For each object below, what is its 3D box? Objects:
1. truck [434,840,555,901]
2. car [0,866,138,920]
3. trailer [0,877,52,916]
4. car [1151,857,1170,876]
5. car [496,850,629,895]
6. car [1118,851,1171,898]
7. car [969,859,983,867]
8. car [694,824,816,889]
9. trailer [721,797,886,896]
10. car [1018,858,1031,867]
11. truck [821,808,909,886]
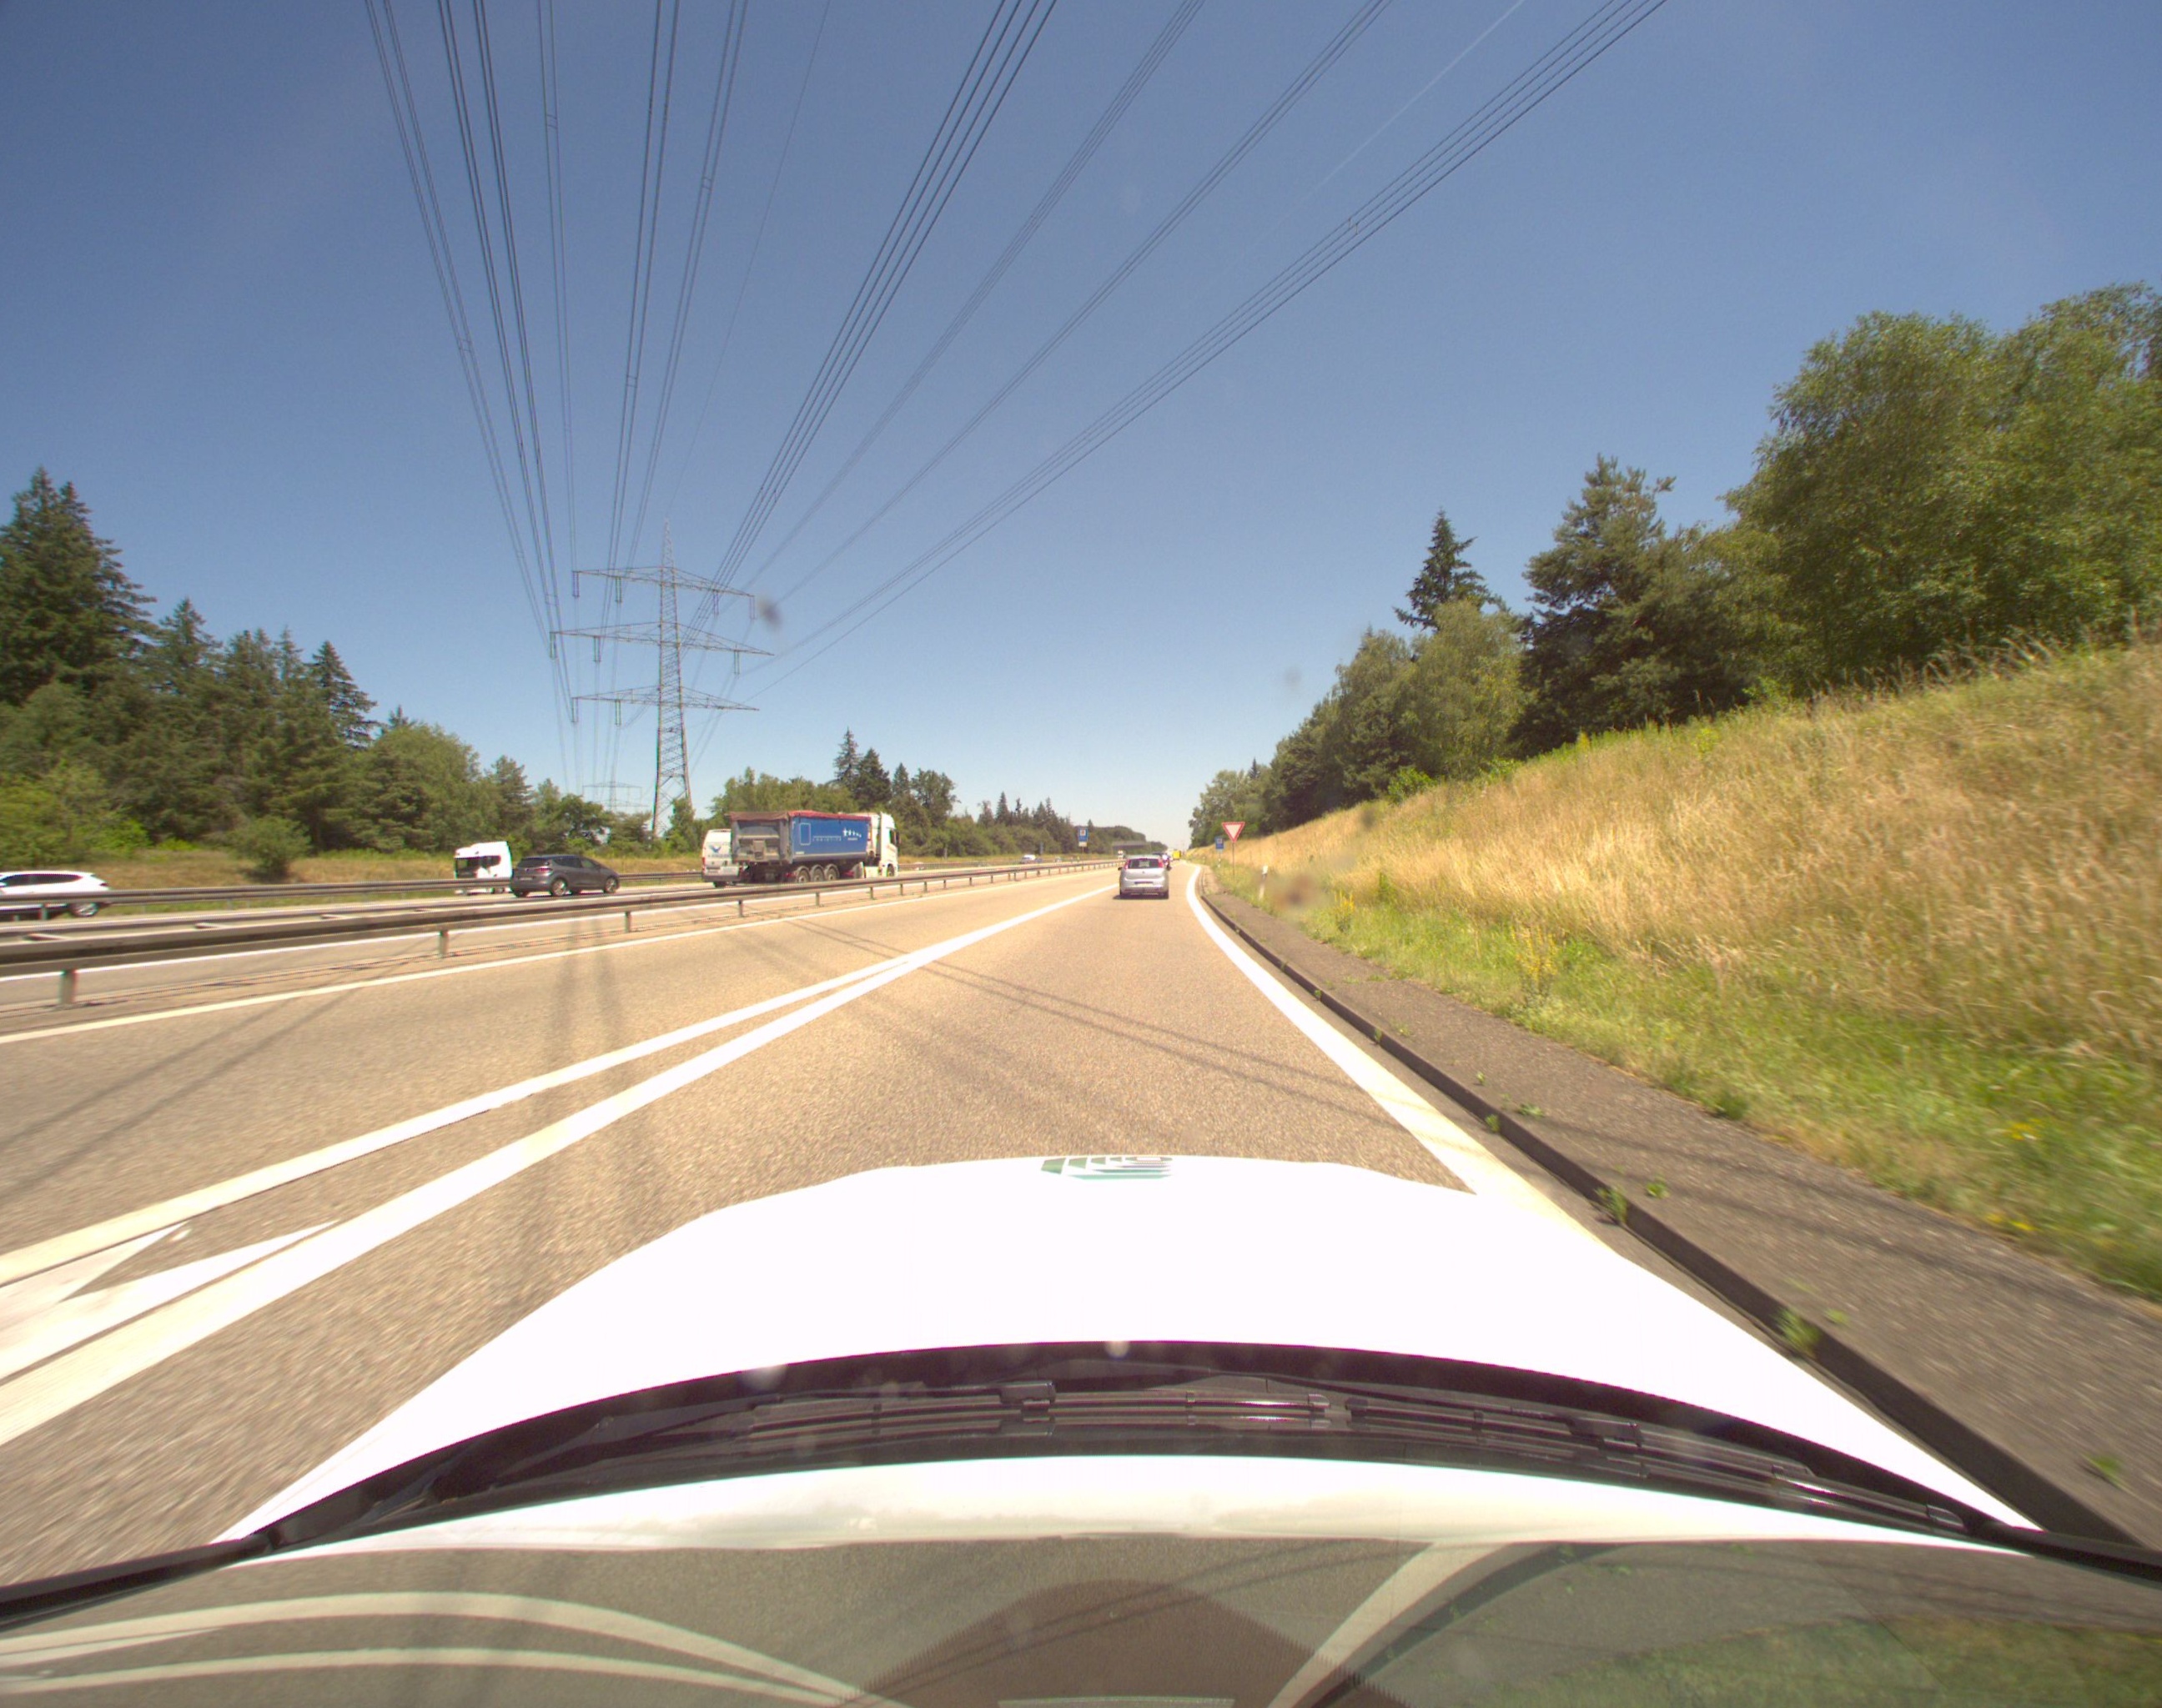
[{"bbox_3d":[-44.344,1.271,61.971,2.842,4.345,7.551,-1,-2,10],"label":"truck"},{"bbox_3d":[-34.765,1.271,26.664,1.761,1.684,4.836,-1,-1,8],"label":"car"},{"bbox_3d":[-52.392,2.075,38.252,1.980,1.819,4.613,-1,0,12],"label":"trailer"},{"bbox_3d":[7.381,1.155,75.354,1.698,1.676,3.402,-1,-2,5],"label":"car"},{"bbox_3d":[-20.707,0.748,32.813,1.761,1.684,4.836,-1,-1,8],"label":"car"},{"bbox_3d":[2.252,0.672,28.312,1.697,1.481,3.404,-2,1,6],"label":"car"},{"bbox_3d":[-24.425,2.028,189.255,1.981,1.783,4.010,-1,-1,9],"label":"car"},{"bbox_3d":[-15.766,0.193,39.954,2.225,2.833,7.070,-1,-1,9],"label":"car"},{"bbox_3d":[-12.016,-0.335,36.677,2.755,3.807,9.908,-1,0,8],"label":"trailer"},{"bbox_3d":[-11.923,1.775,172.873,1.983,1.783,4.007,-1,-1,7],"label":"car"},{"bbox_3d":[-11.167,-0.379,42.465,2.741,3.807,4.633,-1,1,8],"label":"truck"}]
